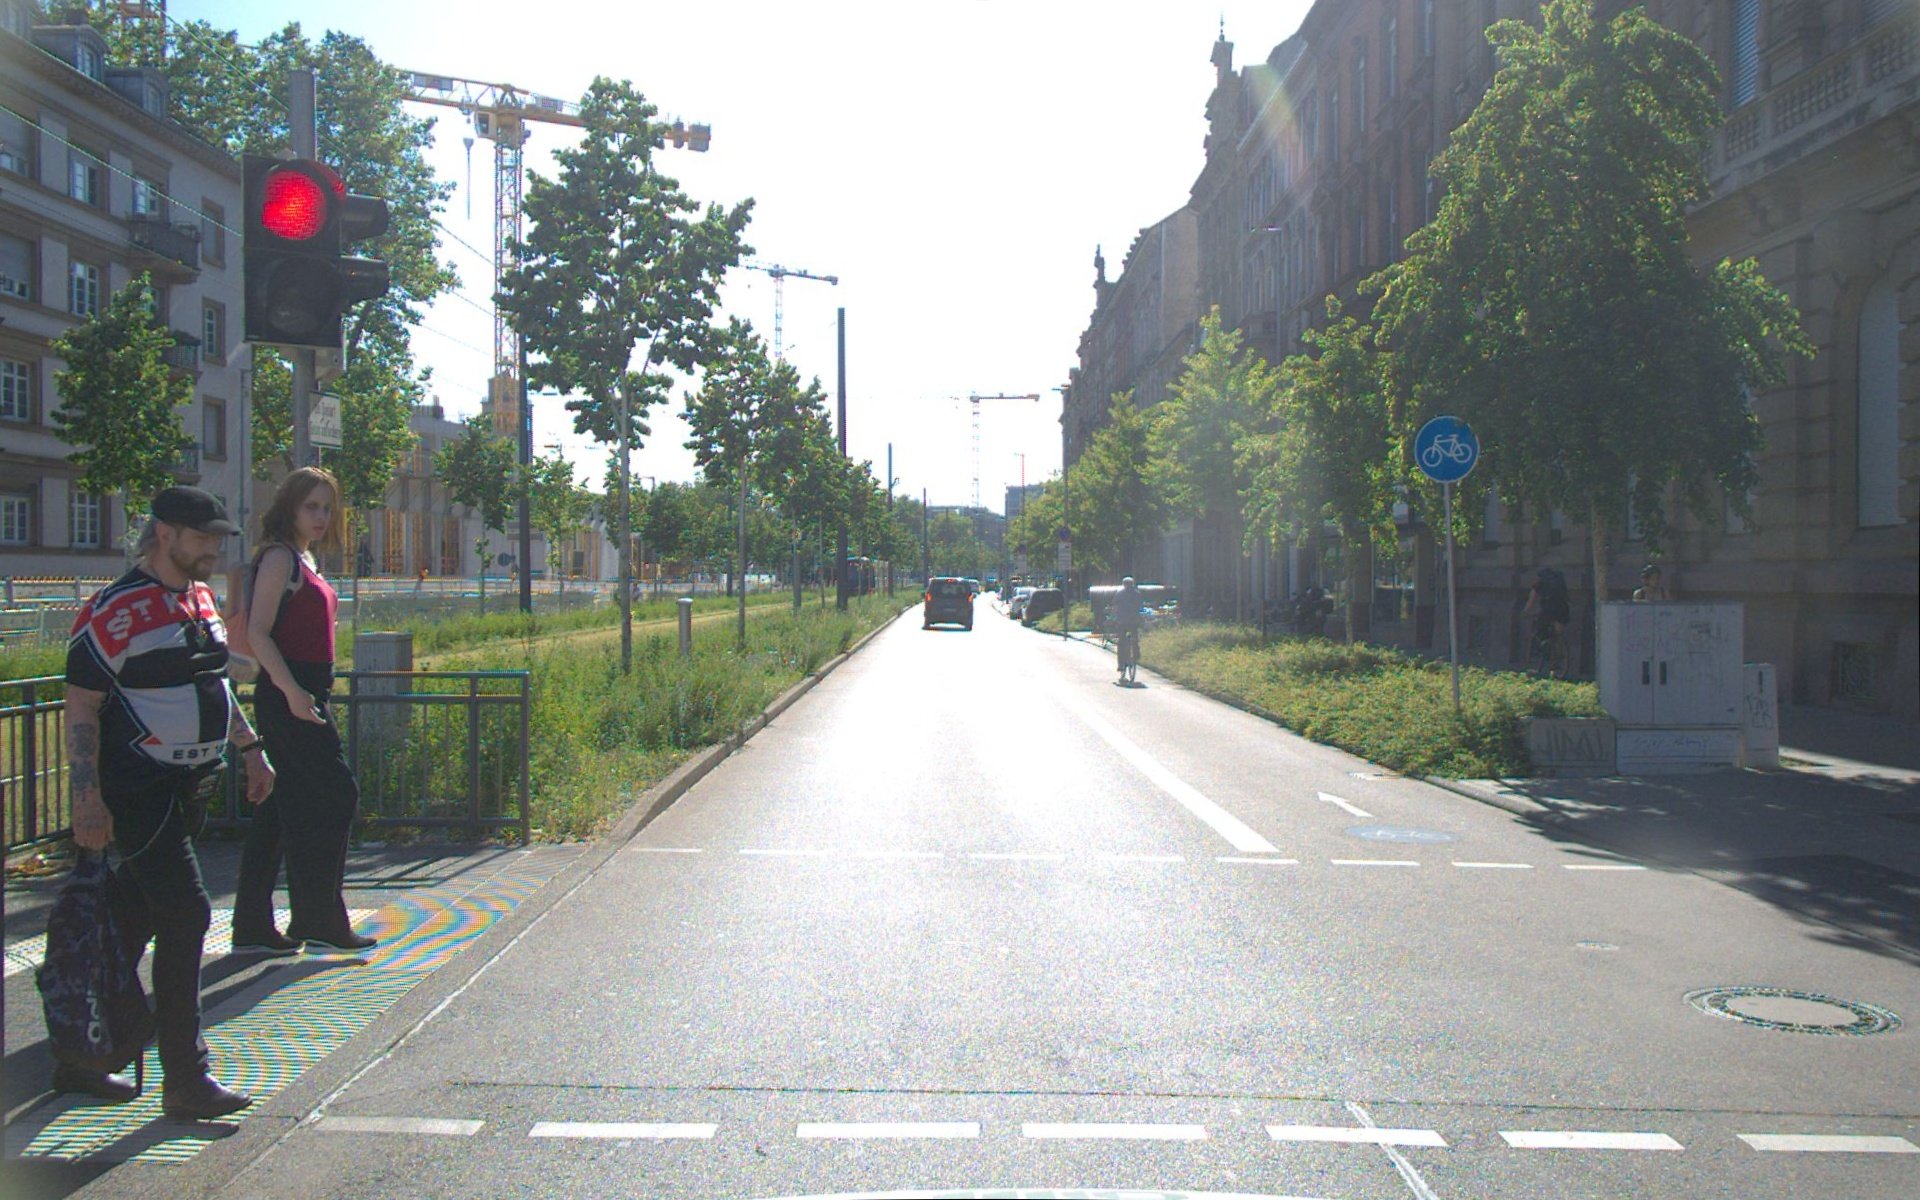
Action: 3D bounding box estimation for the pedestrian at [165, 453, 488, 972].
[{"bbox_3d":[-2.479,0.412,6.576,1.055,1.942,0.652,0,0,-7],"label":"pedestrian"}]

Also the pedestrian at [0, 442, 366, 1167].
[{"bbox_3d":[-2.239,0.511,4.659,0.848,1.819,0.969,1,0,-7],"label":"pedestrian"}]

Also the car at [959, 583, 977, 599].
[{"bbox_3d":[0.887,-1.018,183.611,1.953,1.759,3.999,1,0,-1],"label":"car"}]

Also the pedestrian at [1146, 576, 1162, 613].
[{"bbox_3d":[8.537,-0.249,72.752,0.601,1.640,0.669,0,0,-1],"label":"pedestrian"}]

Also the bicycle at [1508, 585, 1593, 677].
[{"bbox_3d":[9.300,0.461,26.111,0.603,1.353,1.900,-4,1,1],"label":"bicycle"}]

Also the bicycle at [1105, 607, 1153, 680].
[{"bbox_3d":[3.013,0.755,29.547,0.589,1.201,1.869,2,1,-1],"label":"bicycle"}]

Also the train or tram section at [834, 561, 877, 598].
[{"bbox_3d":[-8.236,-1.557,131.919,2.699,2.790,9.863,1,0,0],"label":"train or tram section"}]

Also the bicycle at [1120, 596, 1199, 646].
[{"bbox_3d":[4.784,0.499,39.615,1.756,1.048,0.527,-4,1,-1],"label":"bicycle"}]

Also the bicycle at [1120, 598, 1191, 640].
[{"bbox_3d":[5.026,0.493,42.625,1.756,1.048,0.527,0,0,-1],"label":"bicycle"}]

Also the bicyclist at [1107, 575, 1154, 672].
[{"bbox_3d":[3.046,0.411,29.644,0.670,1.702,0.922,2,0,-2],"label":"bicyclist"}]

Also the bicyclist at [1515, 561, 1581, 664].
[{"bbox_3d":[9.240,0.189,26.021,0.647,1.556,0.801,-4,1,0],"label":"bicyclist"}]

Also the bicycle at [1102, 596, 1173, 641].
[{"bbox_3d":[4.726,0.500,43.996,1.756,1.048,0.527,-4,1,-1],"label":"bicycle"}]

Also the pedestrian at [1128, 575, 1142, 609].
[{"bbox_3d":[8.652,-0.392,81.698,0.601,1.640,0.669,0,0,-1],"label":"pedestrian"}]

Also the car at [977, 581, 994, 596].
[{"bbox_3d":[3.284,-1.522,214.350,1.953,1.870,3.999,1,0,-1],"label":"car"}]

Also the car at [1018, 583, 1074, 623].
[{"bbox_3d":[3.464,0.095,67.410,1.987,1.525,4.653,0,0,-1],"label":"car"}]

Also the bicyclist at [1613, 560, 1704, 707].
[{"bbox_3d":[8.148,0.379,19.328,0.653,1.668,0.960,0,0,-1],"label":"bicyclist"}]

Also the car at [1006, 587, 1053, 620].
[{"bbox_3d":[3.339,0.125,79.819,1.987,1.525,4.529,0,0,-1],"label":"car"}]

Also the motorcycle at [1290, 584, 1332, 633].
[{"bbox_3d":[9.391,0.212,44.294,0.686,1.289,1.982,0,1,-1],"label":"motorcycle"}]

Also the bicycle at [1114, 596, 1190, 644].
[{"bbox_3d":[4.759,0.499,40.989,1.756,1.048,0.527,-4,1,-1],"label":"bicycle"}]

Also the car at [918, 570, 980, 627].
[{"bbox_3d":[-0.433,-0.079,60.342,2.155,1.960,4.653,0,0,-1],"label":"car"}]
